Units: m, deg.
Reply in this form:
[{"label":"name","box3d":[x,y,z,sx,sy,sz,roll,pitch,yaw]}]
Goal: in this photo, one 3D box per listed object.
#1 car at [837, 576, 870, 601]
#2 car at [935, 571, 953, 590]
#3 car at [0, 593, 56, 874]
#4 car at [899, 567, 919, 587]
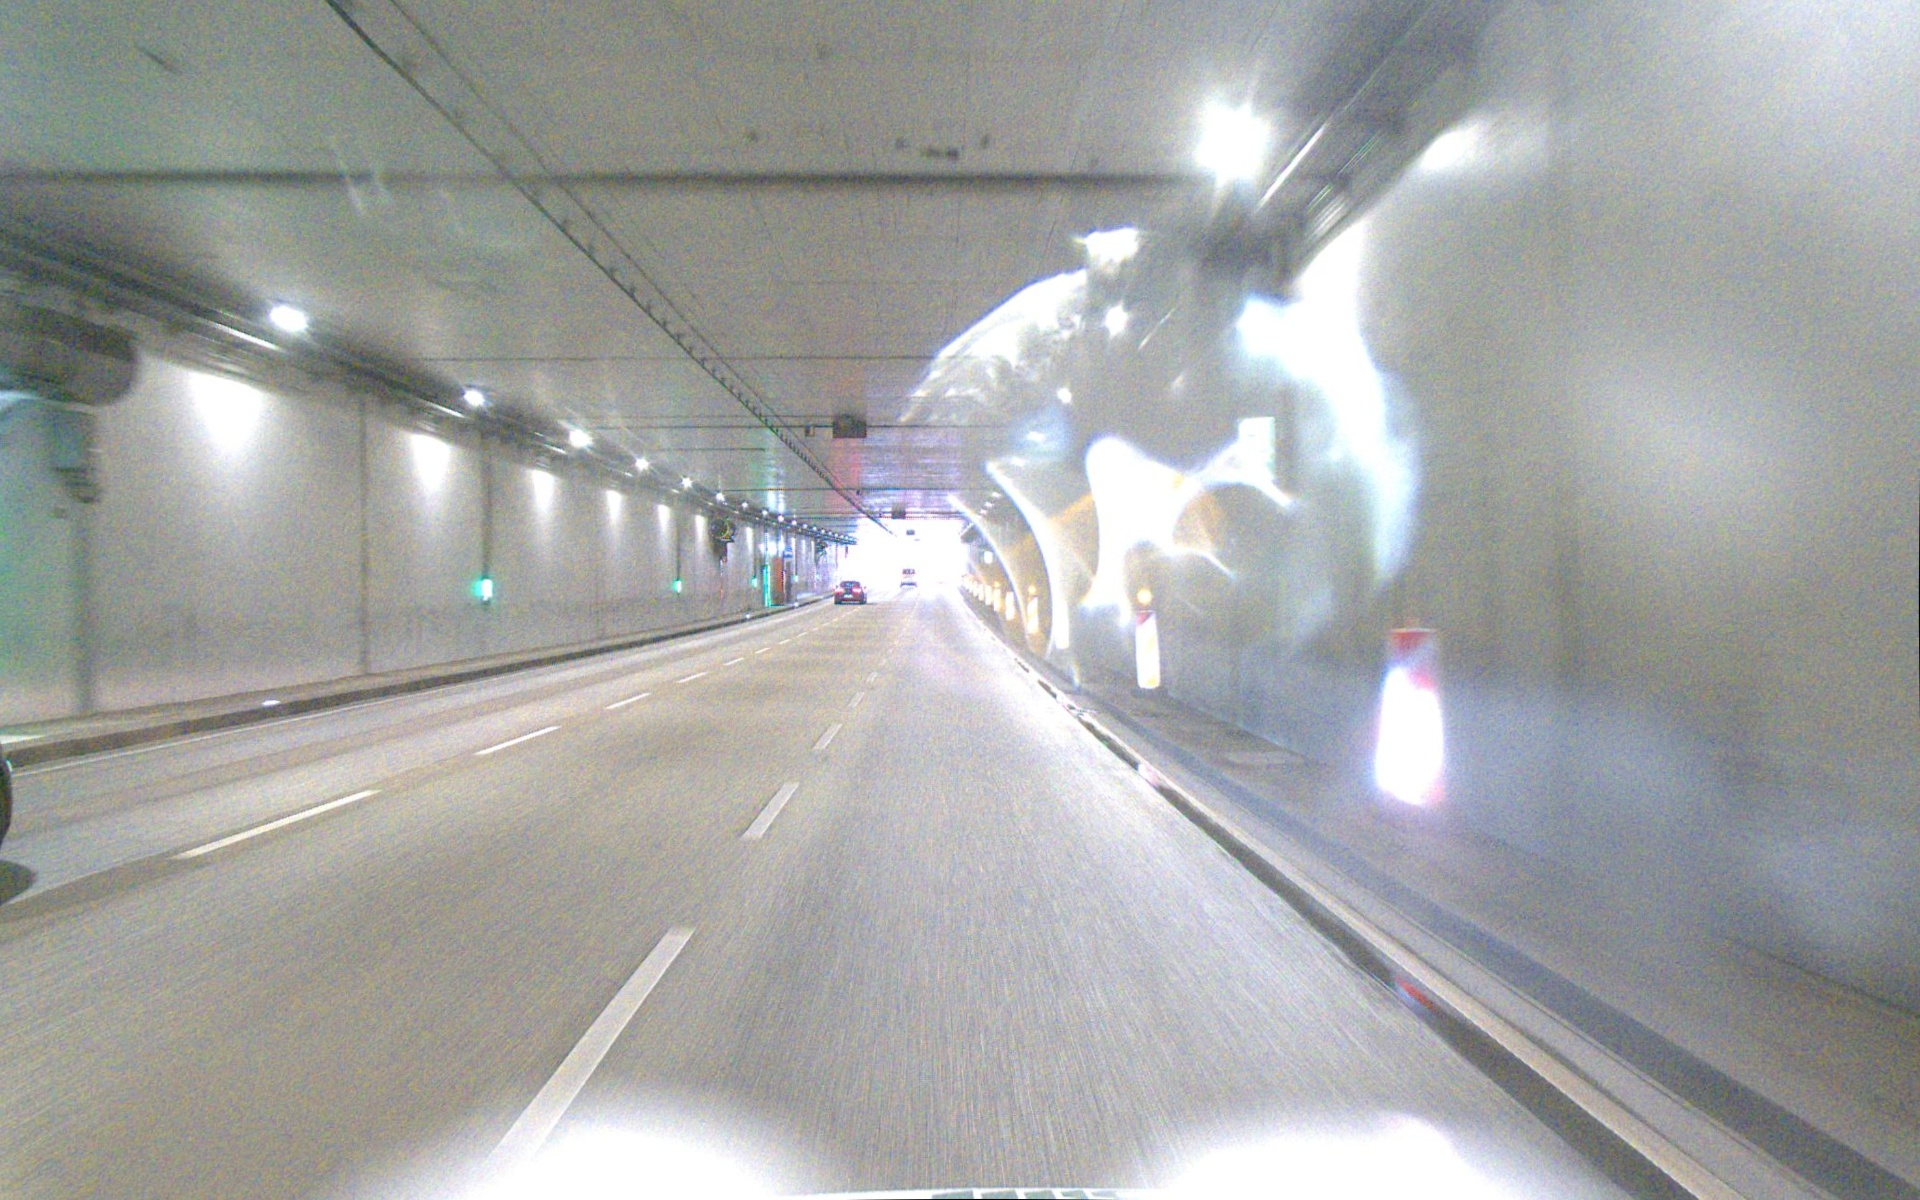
[{"label":"car","box3d":[-6.675,-0.753,103.647,1.954,1.473,4.310,1,0,-5]},{"label":"car","box3d":[-1.791,-2.181,185.300,1.953,2.049,3.999,0,0,-1]},{"label":"car","box3d":[-5.826,0.702,7.455,1.579,1.480,3.572,1,0,-1]},{"label":"car","box3d":[-5.205,-2.347,169.023,1.953,2.049,3.999,0,0,-1]}]
